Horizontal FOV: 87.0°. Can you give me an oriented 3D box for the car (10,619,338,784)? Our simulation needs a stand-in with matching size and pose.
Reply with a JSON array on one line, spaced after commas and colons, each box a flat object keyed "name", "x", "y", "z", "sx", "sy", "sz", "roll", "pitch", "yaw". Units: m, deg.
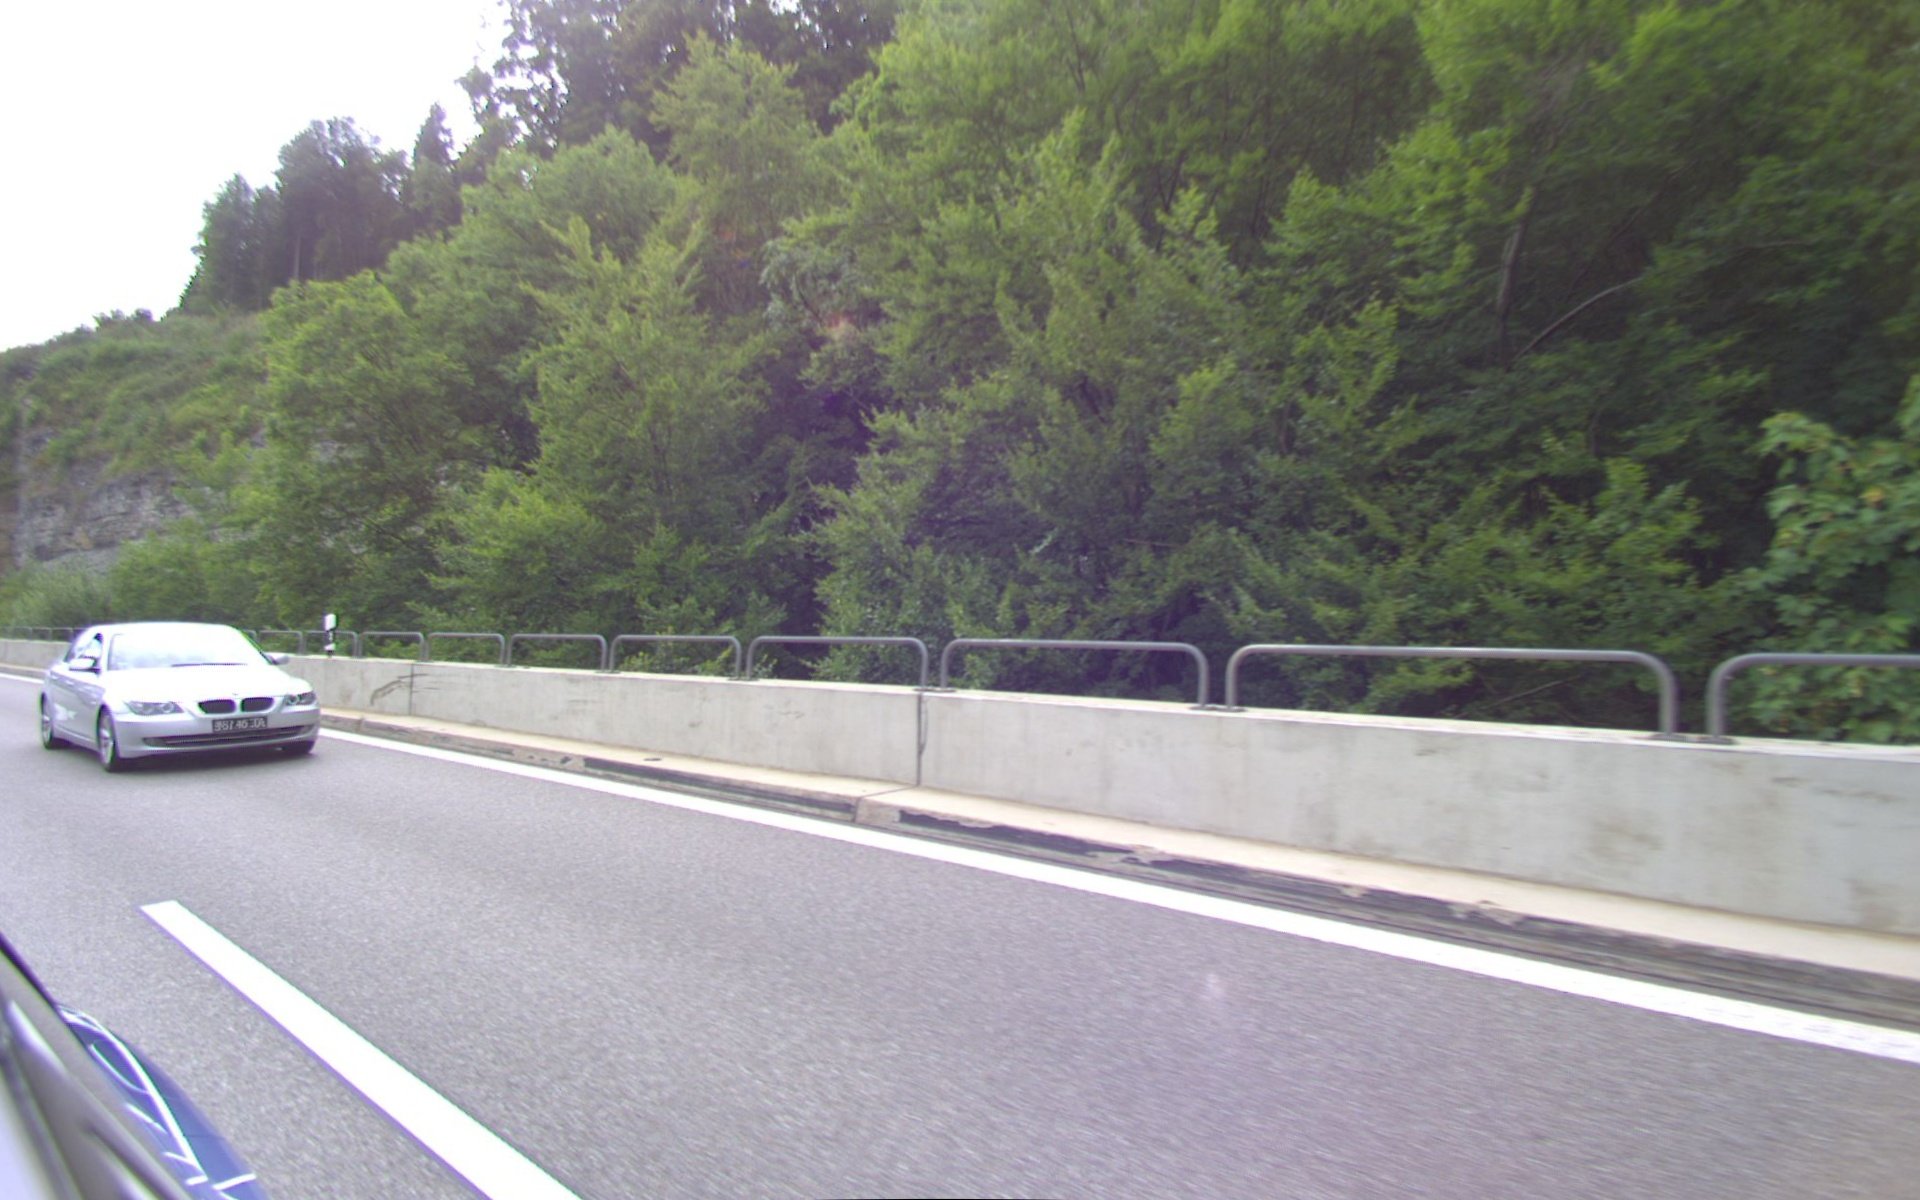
[{"name": "car", "x": -9.091, "y": 0.985, "z": 11.520, "sx": 5.129, "sy": 1.468, "sz": 1.810, "roll": -1, "pitch": -1, "yaw": 39}]
